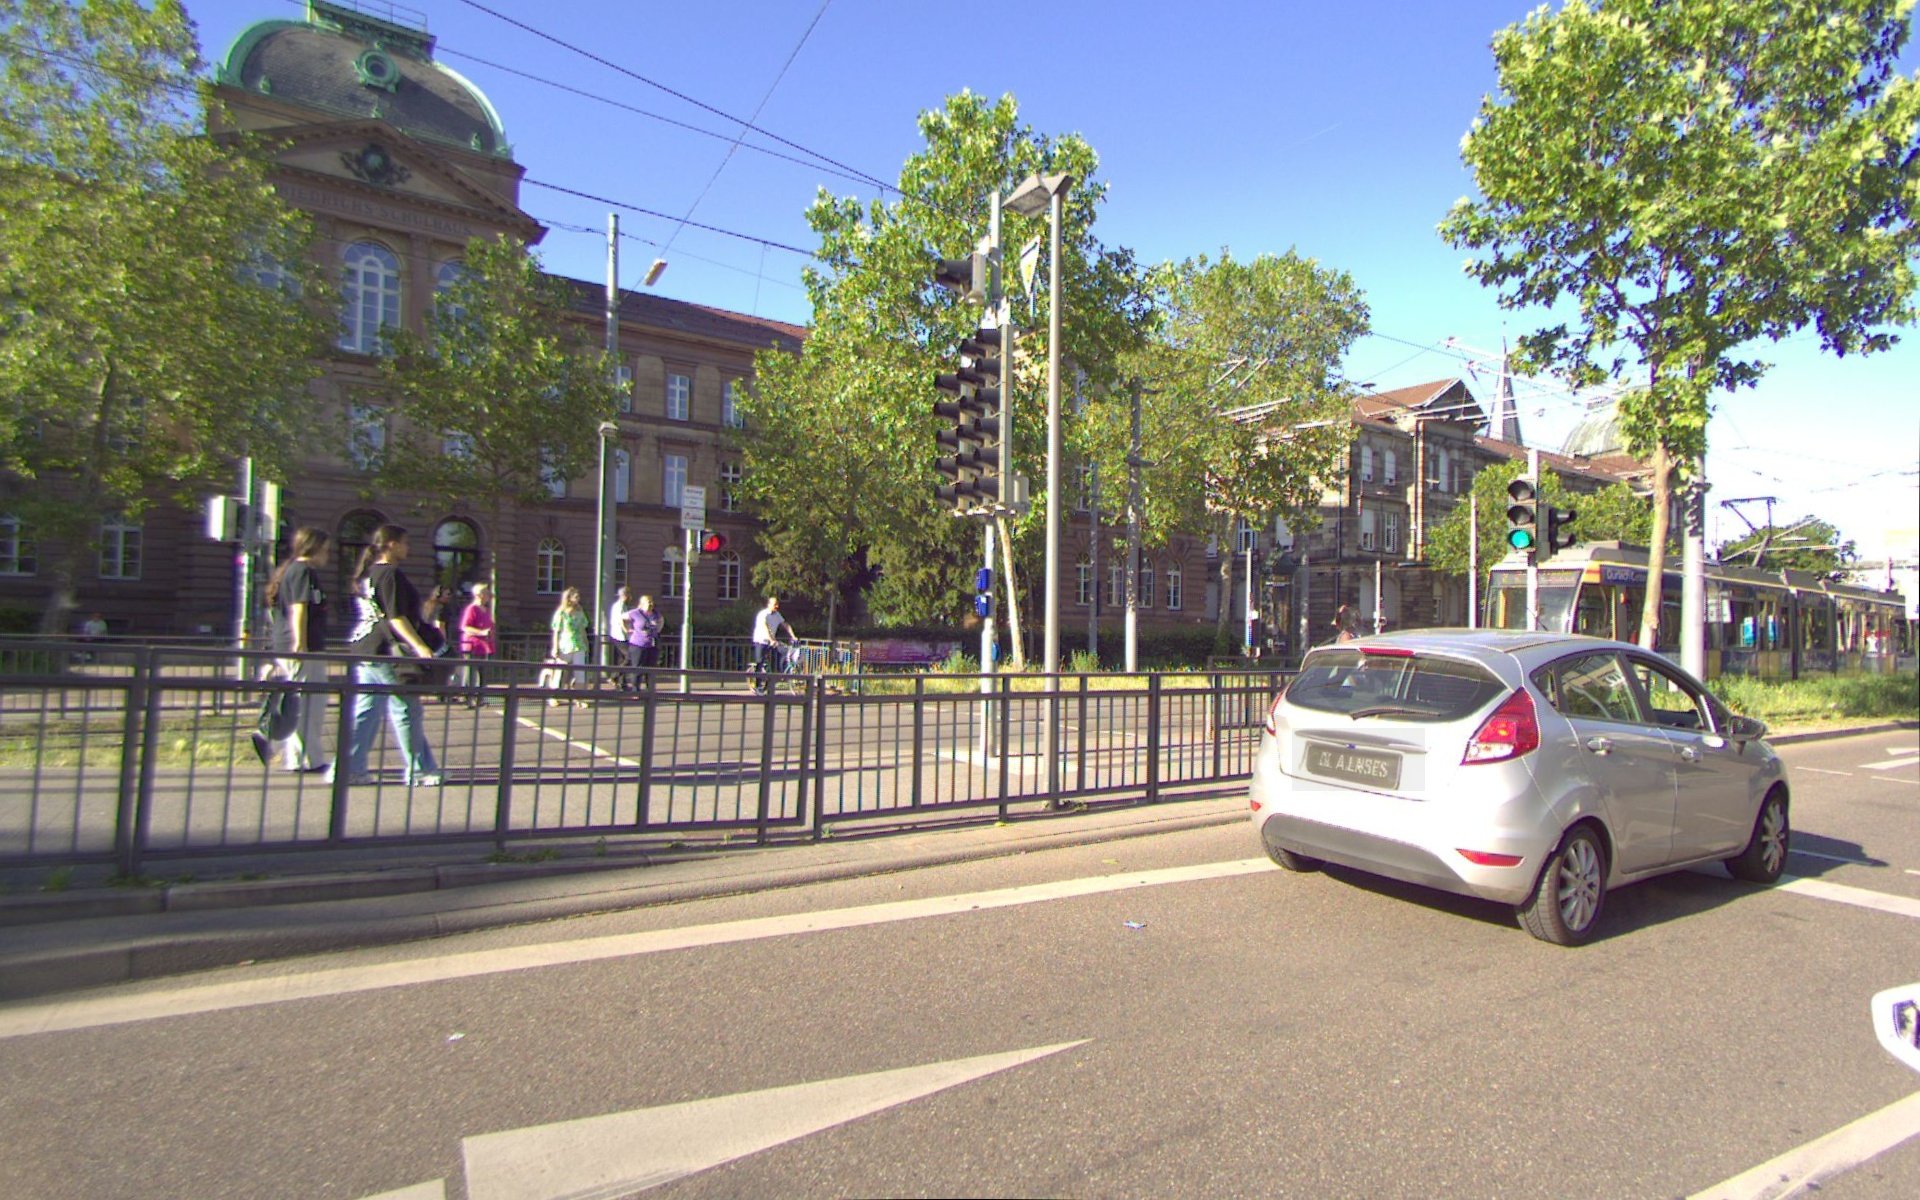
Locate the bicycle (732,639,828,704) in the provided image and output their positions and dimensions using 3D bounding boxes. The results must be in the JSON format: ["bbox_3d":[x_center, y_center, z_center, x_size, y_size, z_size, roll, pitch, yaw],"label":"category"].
[{"bbox_3d":[-3.141,1.211,17.433,0.831,0.999,1.649,3,-1,-45],"label":"bicycle"}]

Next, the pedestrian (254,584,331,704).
[{"bbox_3d":[-9.703,0.629,14.604,0.697,1.686,0.632,0,-2,30],"label":"pedestrian"}]

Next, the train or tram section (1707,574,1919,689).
[{"bbox_3d":[29.380,1.222,33.892,12.990,3.303,2.894,4,-1,-36],"label":"train or tram section"}]

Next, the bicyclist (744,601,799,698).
[{"bbox_3d":[-3.311,0.865,17.647,0.653,1.648,0.655,1,-1,45],"label":"bicyclist"}]

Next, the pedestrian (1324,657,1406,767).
[{"bbox_3d":[4.286,1.164,10.646,0.525,1.087,0.626,2,-2,-38],"label":"pedestrian"}]

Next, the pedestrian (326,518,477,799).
[{"bbox_3d":[-3.703,0.375,6.659,0.741,1.724,0.627,2,-2,-38],"label":"pedestrian"}]

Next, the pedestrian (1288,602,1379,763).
[{"bbox_3d":[3.823,0.822,10.284,0.641,1.577,0.626,2,-2,-39],"label":"pedestrian"}]

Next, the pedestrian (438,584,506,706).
[{"bbox_3d":[-6.919,0.631,14.239,0.704,1.671,0.626,2,-2,-39],"label":"pedestrian"}]

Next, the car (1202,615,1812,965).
[{"bbox_3d":[3.307,0.881,5.896,3.594,1.428,1.650,3,-1,-34],"label":"car"}]

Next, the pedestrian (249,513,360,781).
[{"bbox_3d":[-4.481,0.315,6.863,0.541,1.724,0.604,2,-2,-38],"label":"pedestrian"}]

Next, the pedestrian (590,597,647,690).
[{"bbox_3d":[-5.983,0.756,17.604,0.771,1.582,0.704,2,-2,-31],"label":"pedestrian"}]

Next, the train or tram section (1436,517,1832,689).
[{"bbox_3d":[17.755,0.429,25.455,15.739,3.303,2.895,4,-1,-35],"label":"train or tram section"}]

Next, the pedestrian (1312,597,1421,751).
[{"bbox_3d":[4.550,0.814,11.278,0.925,1.650,0.628,2,-1,-2],"label":"pedestrian"}]

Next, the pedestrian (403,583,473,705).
[{"bbox_3d":[-7.811,0.649,15.031,0.698,1.766,0.631,0,-2,35],"label":"pedestrian"}]

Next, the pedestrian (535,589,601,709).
[{"bbox_3d":[-5.729,0.711,14.682,0.699,1.701,0.613,2,-2,-39],"label":"pedestrian"}]

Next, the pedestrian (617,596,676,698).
[{"bbox_3d":[-5.093,0.758,16.331,0.699,1.603,0.613,2,-2,-39],"label":"pedestrian"}]
